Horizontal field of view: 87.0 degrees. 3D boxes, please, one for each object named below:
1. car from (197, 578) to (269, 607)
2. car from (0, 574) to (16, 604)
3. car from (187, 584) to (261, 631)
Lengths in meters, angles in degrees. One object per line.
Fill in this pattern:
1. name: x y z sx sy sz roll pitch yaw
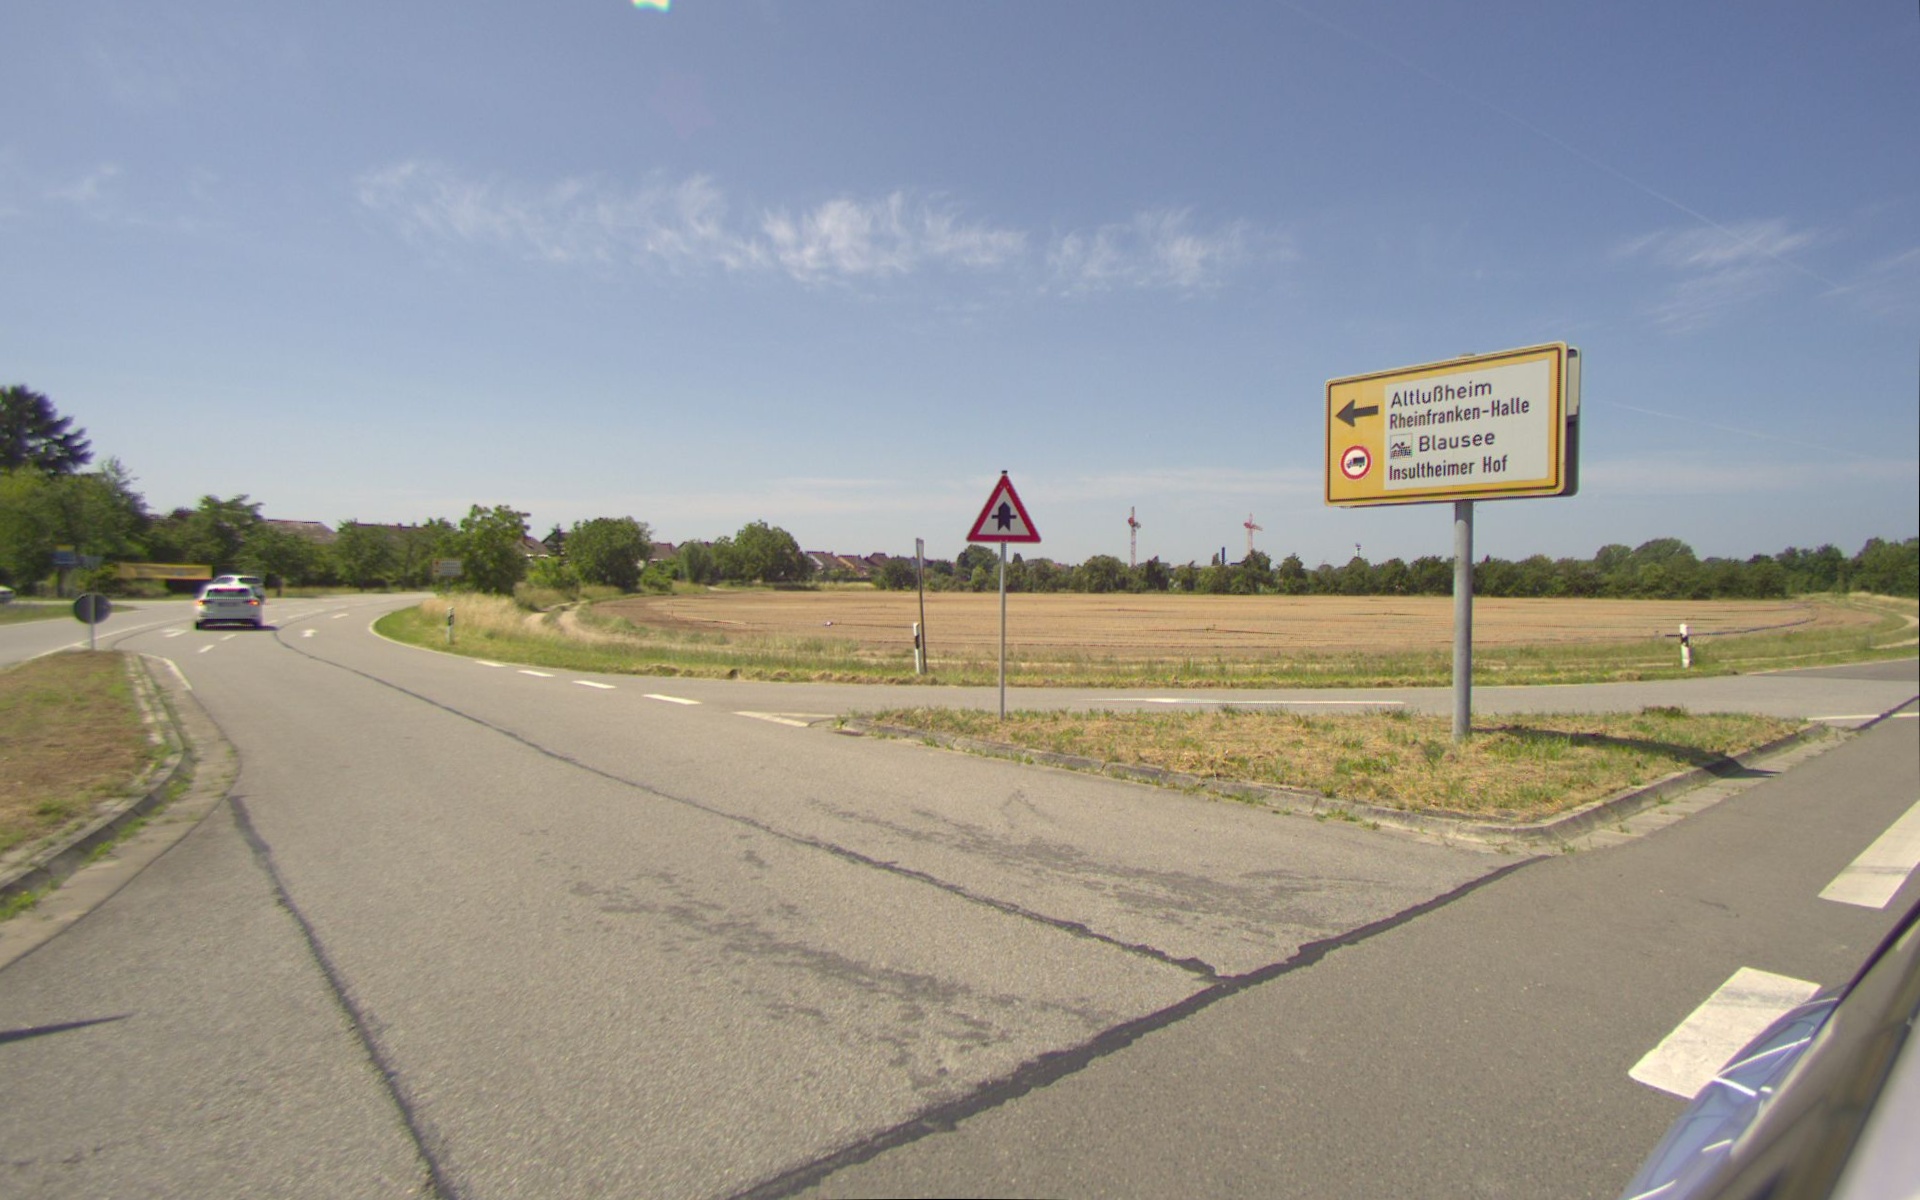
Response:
1. car: -42.692 -0.482 59.405 4.109 1.644 2.048 1 1 32
2. car: -53.805 -0.594 54.236 4.671 1.644 1.646 0 0 -6
3. car: -24.428 0.251 33.714 1.806 1.436 4.715 -1 0 -34
